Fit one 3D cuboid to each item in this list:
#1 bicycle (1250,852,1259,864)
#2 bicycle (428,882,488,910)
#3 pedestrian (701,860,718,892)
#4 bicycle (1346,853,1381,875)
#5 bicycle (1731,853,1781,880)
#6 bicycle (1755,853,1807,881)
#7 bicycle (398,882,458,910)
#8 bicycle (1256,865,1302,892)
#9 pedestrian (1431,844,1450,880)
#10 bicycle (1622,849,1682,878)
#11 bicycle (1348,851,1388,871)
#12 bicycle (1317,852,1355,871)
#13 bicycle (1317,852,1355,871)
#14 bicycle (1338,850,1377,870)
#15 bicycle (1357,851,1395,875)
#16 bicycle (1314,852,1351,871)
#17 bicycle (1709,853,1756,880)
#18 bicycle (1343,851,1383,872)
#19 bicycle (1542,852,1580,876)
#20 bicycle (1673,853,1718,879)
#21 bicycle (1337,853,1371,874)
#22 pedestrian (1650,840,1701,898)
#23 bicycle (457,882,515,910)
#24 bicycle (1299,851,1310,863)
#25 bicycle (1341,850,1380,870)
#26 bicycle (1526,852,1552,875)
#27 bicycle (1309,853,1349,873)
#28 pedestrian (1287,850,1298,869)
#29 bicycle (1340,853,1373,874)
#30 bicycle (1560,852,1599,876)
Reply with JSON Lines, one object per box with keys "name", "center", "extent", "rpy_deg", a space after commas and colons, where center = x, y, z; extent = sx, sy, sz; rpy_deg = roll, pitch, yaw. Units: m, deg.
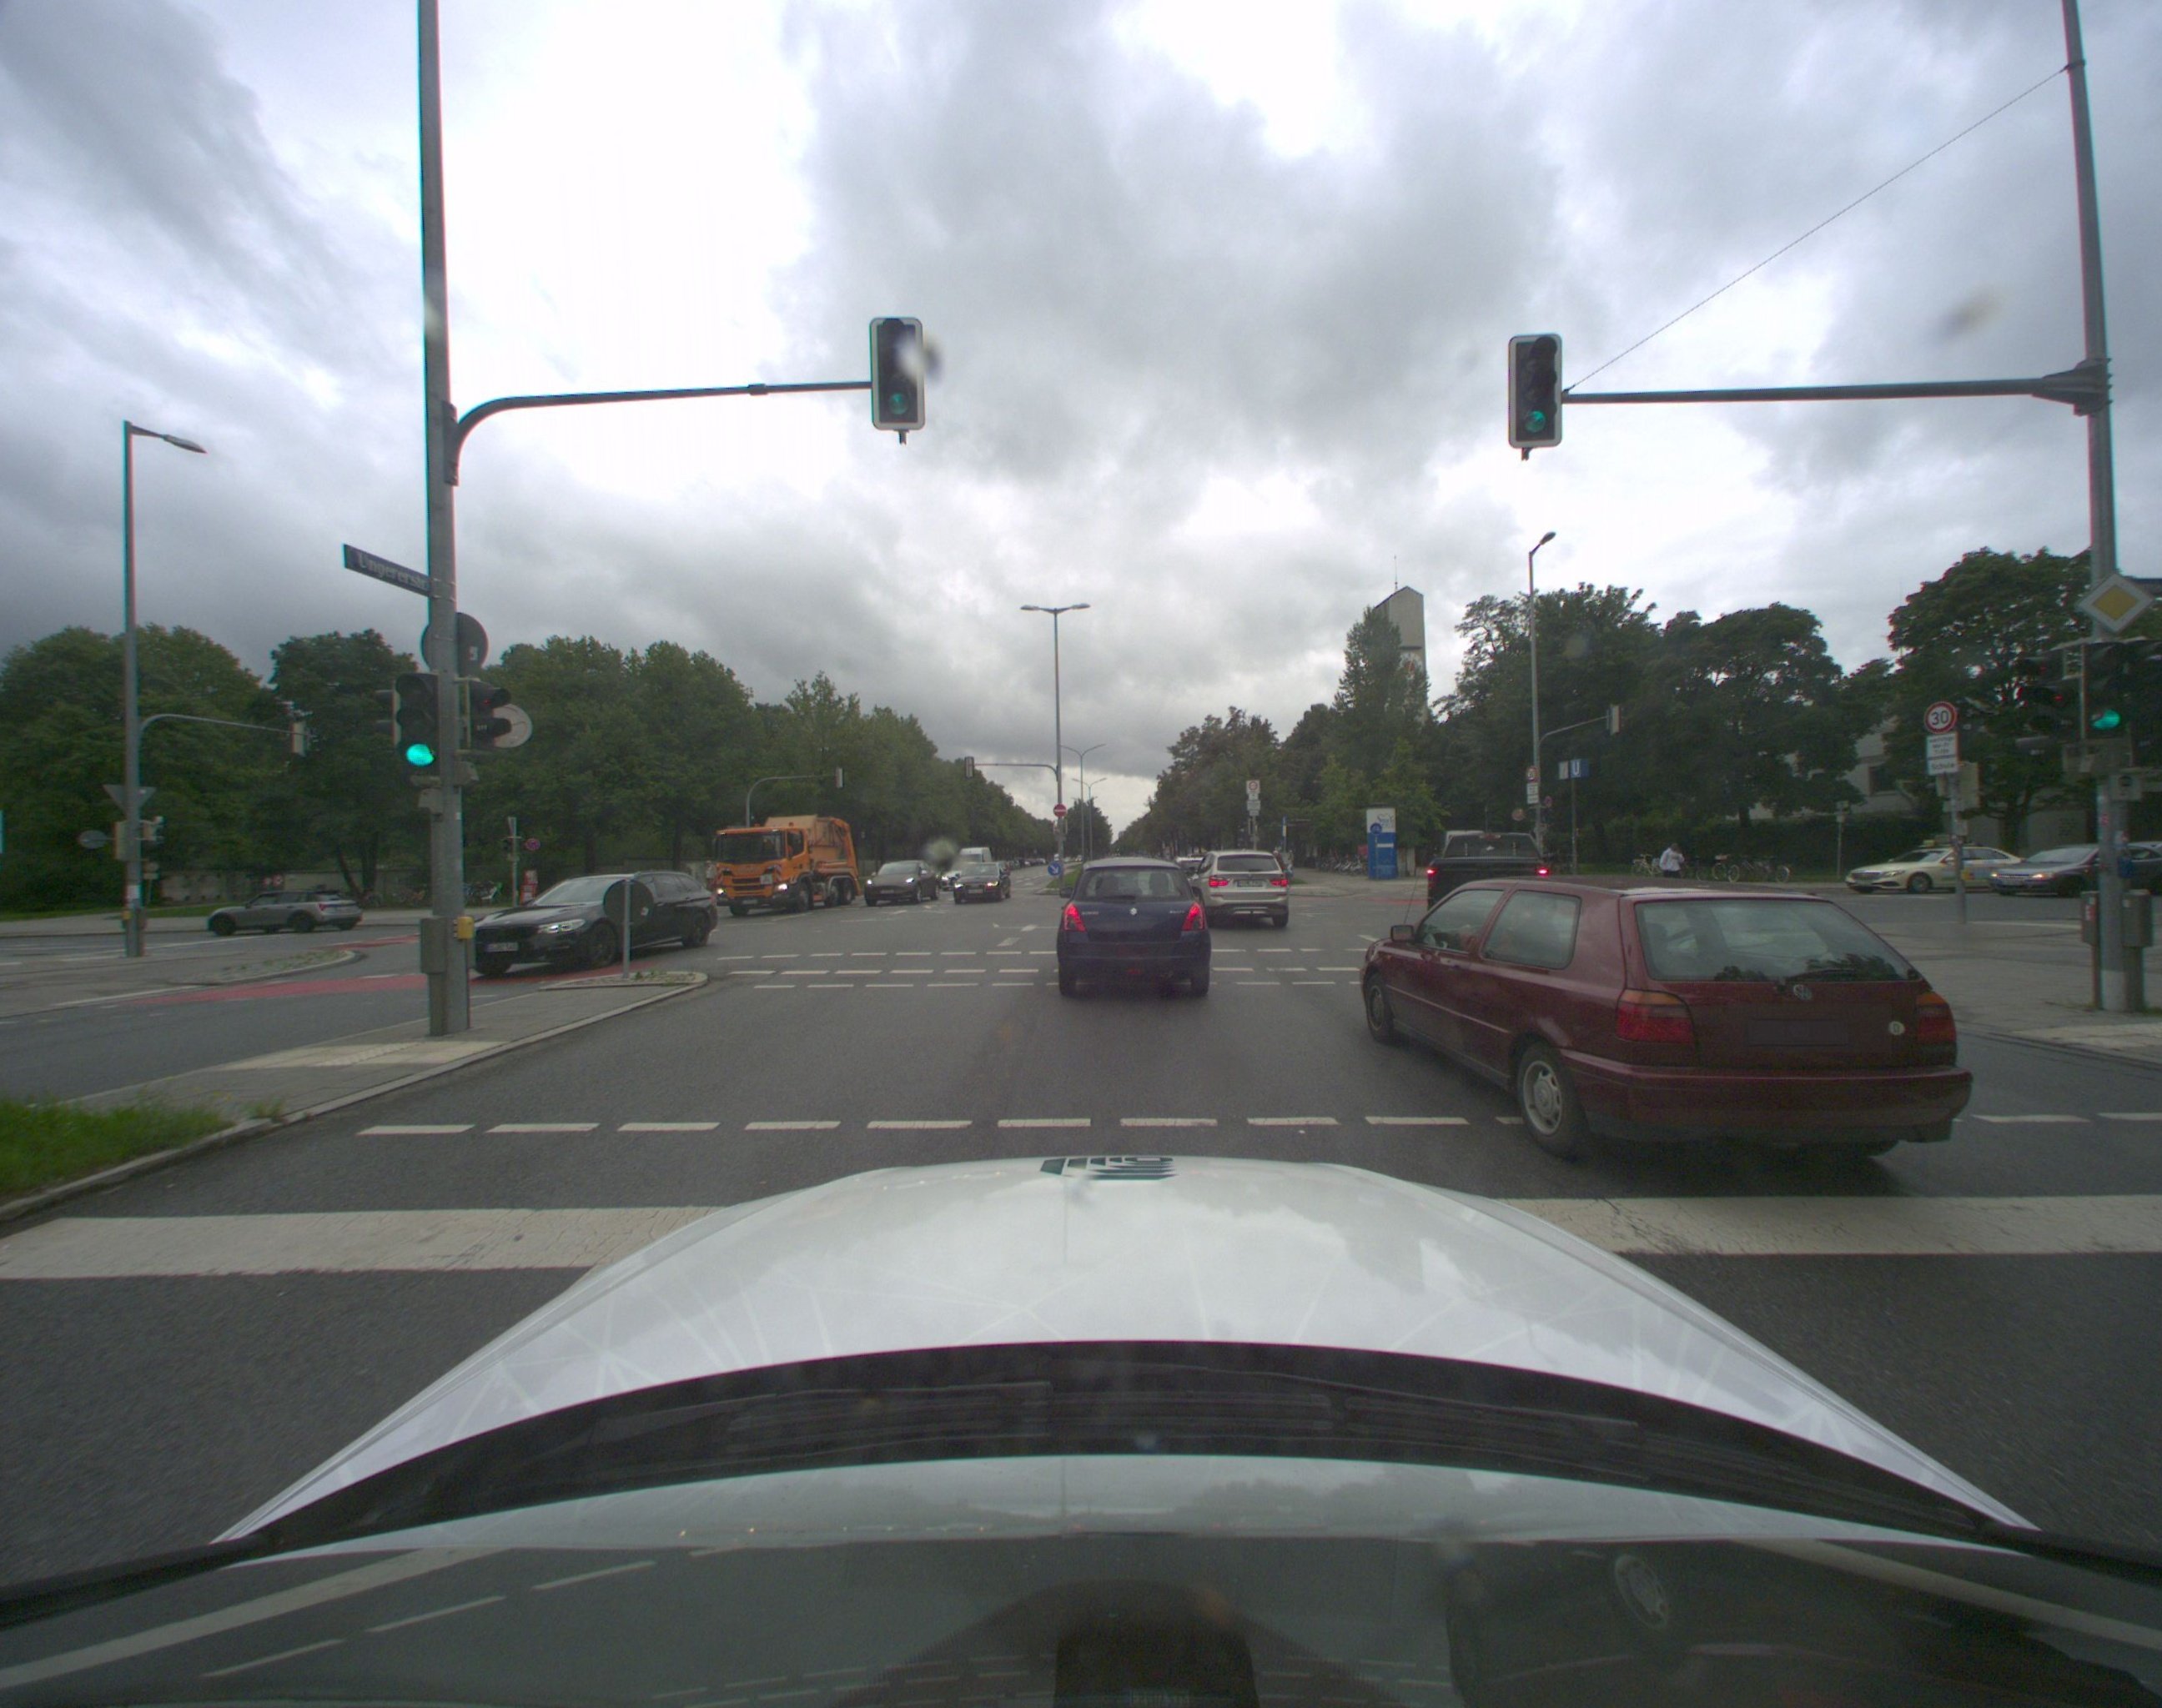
{"name": "bicycle", "center": [19.946, 0.460, 93.686], "extent": [0.642, 1.280, 2.552], "rpy_deg": [-1, 0, 2]}
{"name": "bicycle", "center": [-29.326, 1.938, 38.389], "extent": [0.832, 1.186, 2.496], "rpy_deg": [-1, 0, 1]}
{"name": "pedestrian", "center": [-20.754, 1.220, 45.484], "extent": [0.706, 1.740, 0.517], "rpy_deg": [-1, -1, -3]}
{"name": "bicycle", "center": [16.212, 0.565, 46.738], "extent": [1.806, 1.142, 0.565], "rpy_deg": [-3, -1, -10]}
{"name": "bicycle", "center": [27.914, 0.504, 33.732], "extent": [0.604, 1.095, 2.120], "rpy_deg": [-1, 0, 10]}
{"name": "bicycle", "center": [28.491, 0.502, 33.191], "extent": [0.604, 1.095, 2.120], "rpy_deg": [-1, 0, 10]}
{"name": "bicycle", "center": [-31.552, 2.022, 39.419], "extent": [0.832, 1.186, 2.496], "rpy_deg": [-1, 0, 1]}
{"name": "bicycle", "center": [8.398, 1.019, 34.515], "extent": [1.955, 1.081, 0.740], "rpy_deg": [-1, -1, -34]}
{"name": "pedestrian", "center": [15.604, 0.337, 35.324], "extent": [0.684, 1.538, 0.741], "rpy_deg": [-2, -1, 21]}
{"name": "bicycle", "center": [25.375, 0.426, 36.231], "extent": [0.704, 1.250, 2.097], "rpy_deg": [-1, 0, -24]}
{"name": "bicycle", "center": [18.497, 0.454, 52.475], "extent": [2.330, 1.157, 0.585], "rpy_deg": [-4, 0, 1]}
{"name": "bicycle", "center": [17.159, 0.495, 54.769], "extent": [2.330, 1.157, 0.529], "rpy_deg": [-4, 0, 1]}
{"name": "bicycle", "center": [17.322, 0.505, 55.316], "extent": [2.330, 1.157, 0.529], "rpy_deg": [-4, 0, 1]}
{"name": "bicycle", "center": [18.392, 0.412, 54.163], "extent": [2.330, 1.157, 0.585], "rpy_deg": [-4, 0, 1]}
{"name": "bicycle", "center": [16.712, 0.509, 46.148], "extent": [1.939, 1.212, 0.565], "rpy_deg": [-3, -1, -10]}
{"name": "bicycle", "center": [17.223, 0.483, 55.869], "extent": [2.330, 1.157, 0.529], "rpy_deg": [-4, 0, 1]}
{"name": "bicycle", "center": [27.162, 0.496, 33.972], "extent": [0.604, 1.095, 2.121], "rpy_deg": [-1, 0, 11]}
{"name": "bicycle", "center": [17.937, 0.472, 51.837], "extent": [2.330, 1.157, 0.585], "rpy_deg": [-4, 0, 1]}
{"name": "bicycle", "center": [23.406, 0.473, 39.722], "extent": [0.713, 1.153, 2.131], "rpy_deg": [-1, 0, 5]}
{"name": "bicycle", "center": [26.510, 0.513, 35.169], "extent": [0.604, 1.095, 2.120], "rpy_deg": [-1, 0, 10]}
{"name": "bicycle", "center": [16.121, 0.569, 48.129], "extent": [1.794, 1.142, 0.569], "rpy_deg": [-3, -1, 11]}
{"name": "pedestrian", "center": [18.024, 0.452, 24.708], "extent": [0.759, 1.703, 0.937], "rpy_deg": [-1, -1, -8]}
{"name": "bicycle", "center": [-27.984, 1.947, 38.369], "extent": [0.832, 1.186, 2.496], "rpy_deg": [-1, 0, 1]}
{"name": "bicycle", "center": [24.249, 0.358, 88.416], "extent": [0.642, 1.280, 2.552], "rpy_deg": [-1, 0, 2]}
{"name": "bicycle", "center": [18.375, 0.411, 53.554], "extent": [2.330, 1.157, 0.585], "rpy_deg": [-4, 0, 1]}
{"name": "bicycle", "center": [23.831, 0.477, 42.344], "extent": [0.709, 1.153, 2.142], "rpy_deg": [-2, 0, 42]}
{"name": "bicycle", "center": [16.120, 0.579, 52.914], "extent": [2.330, 1.157, 0.585], "rpy_deg": [-4, 0, 1]}
{"name": "pedestrian", "center": [17.339, 0.455, 66.650], "extent": [0.579, 1.513, 0.690], "rpy_deg": [-1, 0, -17]}
{"name": "bicycle", "center": [16.653, 0.561, 49.217], "extent": [1.796, 1.142, 0.568], "rpy_deg": [-3, -1, 7]}
{"name": "bicycle", "center": [24.223, 0.468, 39.621], "extent": [0.693, 1.153, 2.131], "rpy_deg": [-1, 0, 5]}
